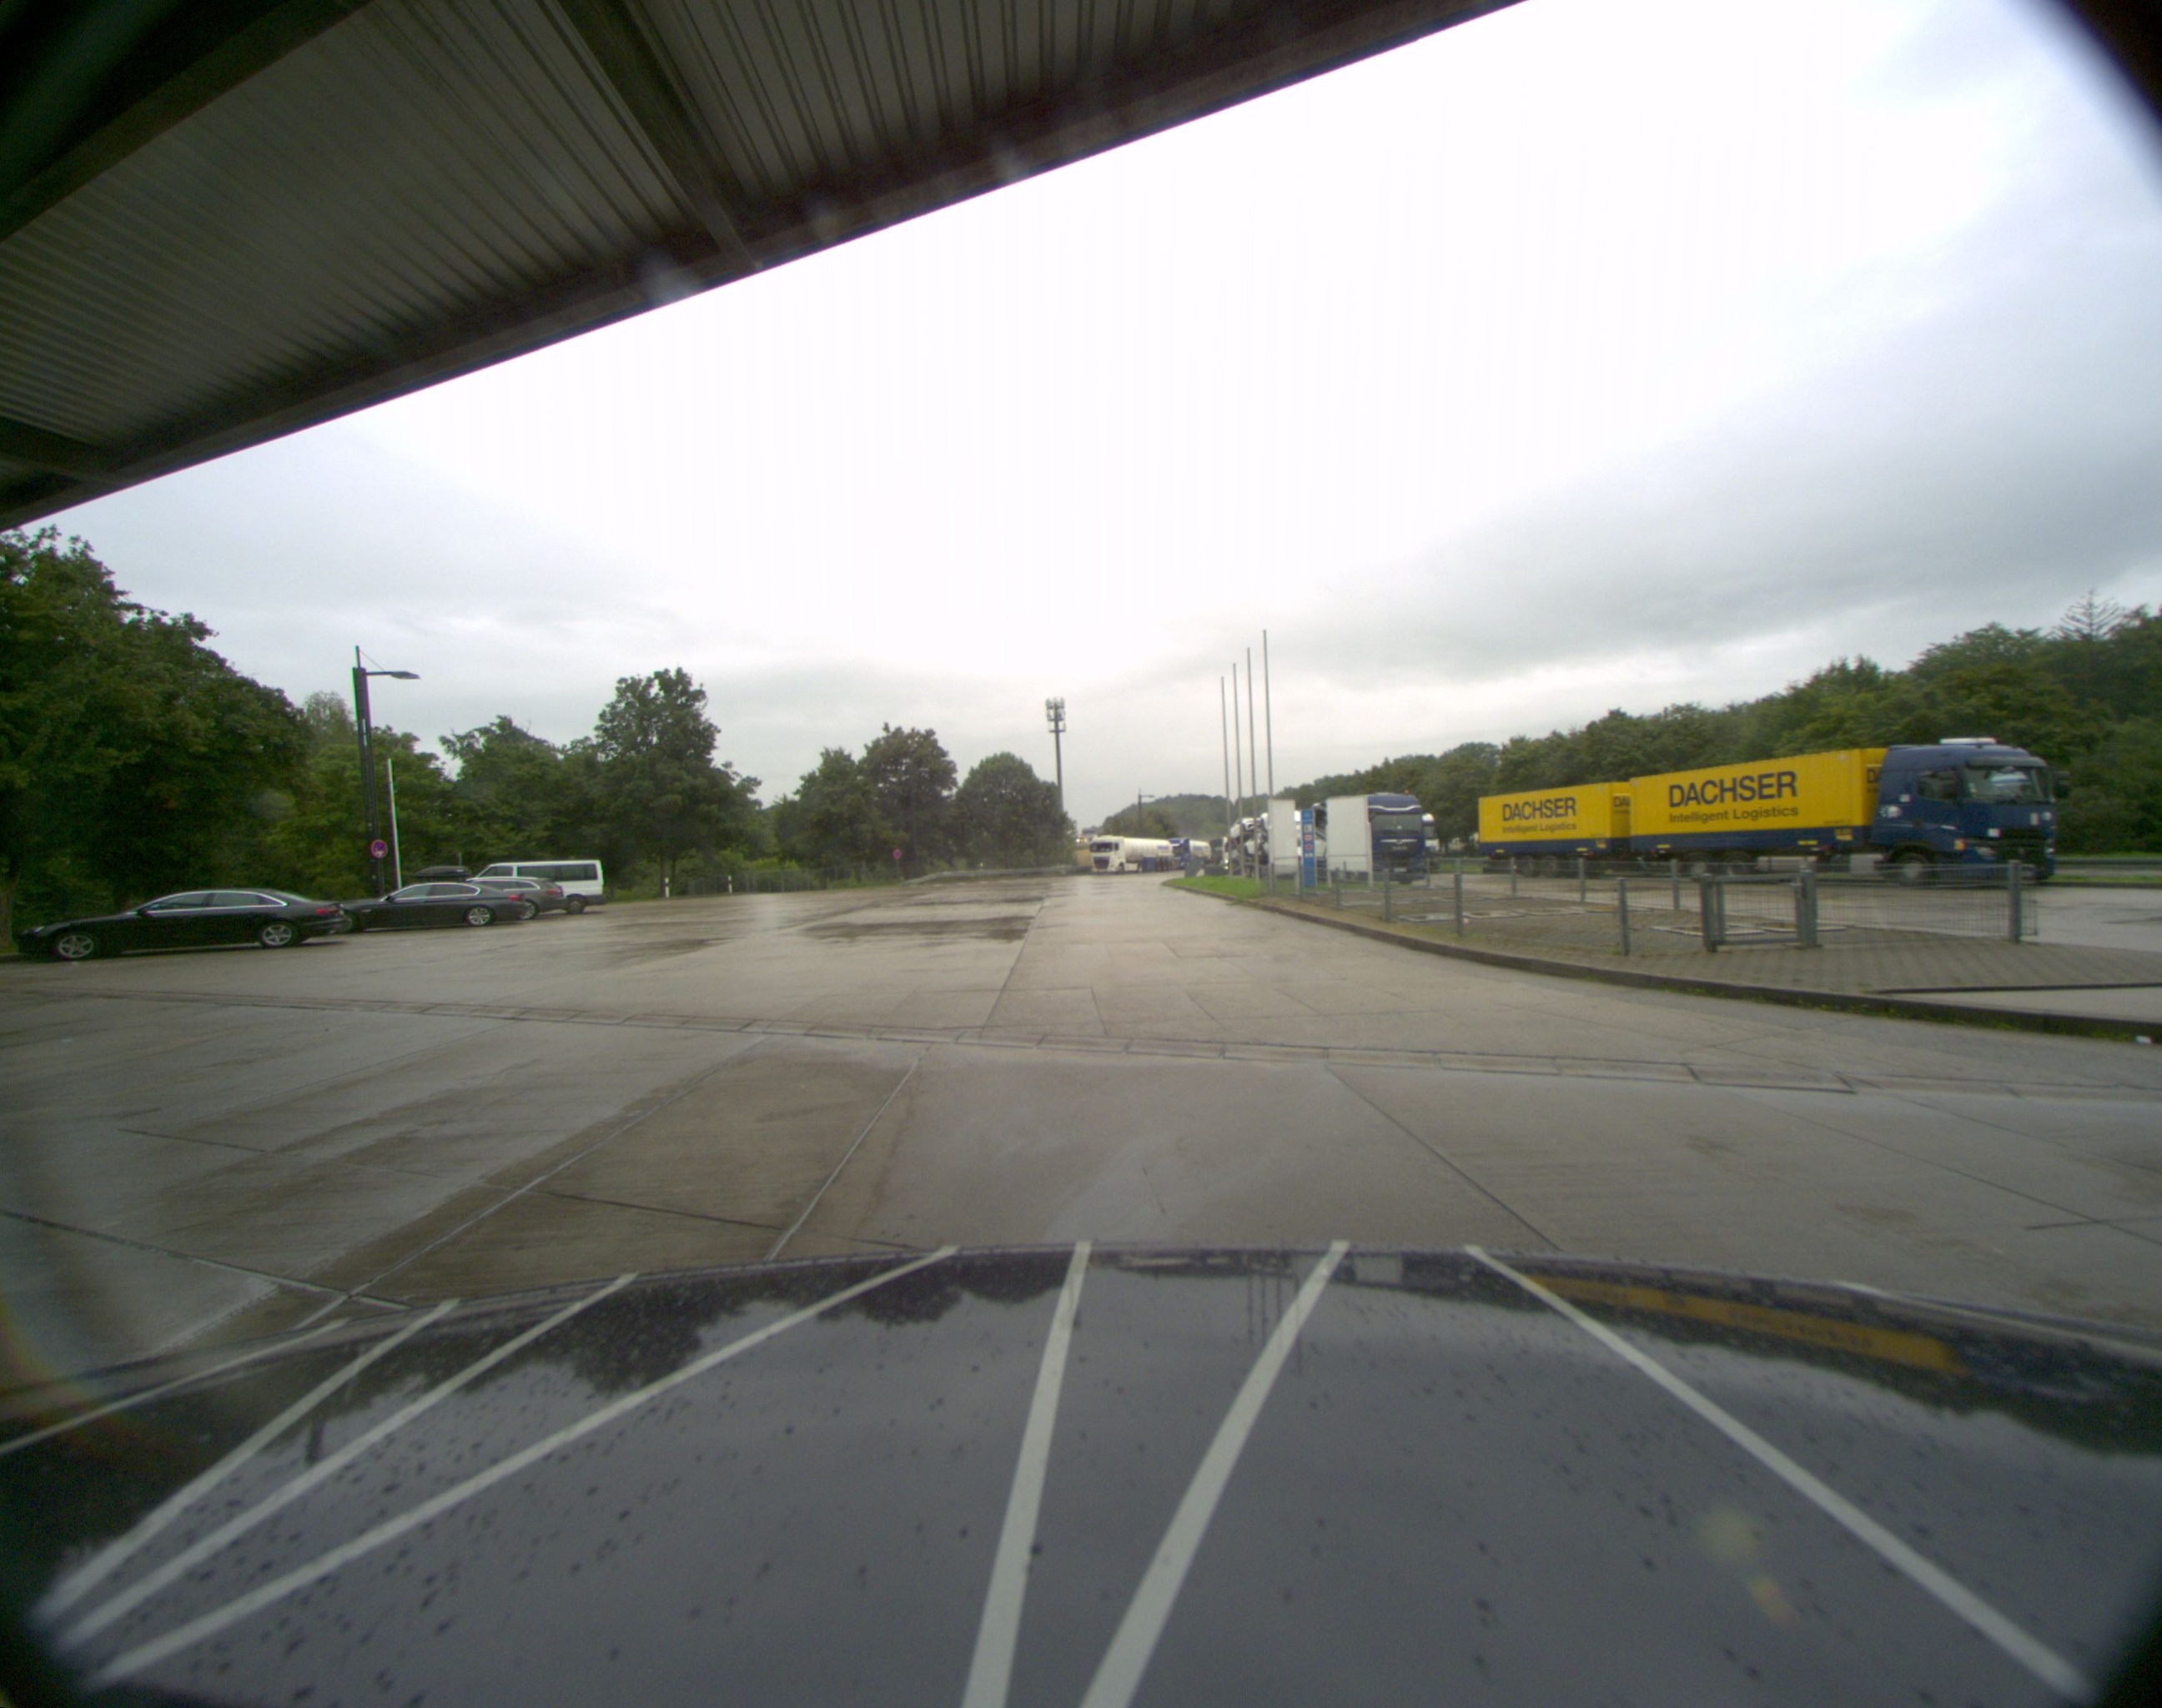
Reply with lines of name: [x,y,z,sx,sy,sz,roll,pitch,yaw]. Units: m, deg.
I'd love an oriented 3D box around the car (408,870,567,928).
car: [-19.469,1.430,25.152,4.007,1.650,1.596,-2,0,-35]

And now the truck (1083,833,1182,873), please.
truck: [5.451,-0.160,75.204,3.505,3.584,14.426,-2,0,31]

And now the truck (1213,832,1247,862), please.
truck: [21.421,-1.043,109.726,3.143,4.105,11.523,-2,1,3]

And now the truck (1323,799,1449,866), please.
truck: [19.883,-1.299,50.565,2.757,3.894,10.678,-2,1,-8]

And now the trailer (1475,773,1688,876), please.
trailer: [21.793,-1.184,33.944,2.757,3.894,8.700,-2,1,-9]

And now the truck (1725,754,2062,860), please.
truck: [33.912,-1.761,32.711,2.421,3.785,10.223,-2,1,-10]

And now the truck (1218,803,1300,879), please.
truck: [10.571,-0.726,45.774,2.665,4.157,6.618,-2,1,-6]

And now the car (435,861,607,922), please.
car: [-20.425,1.291,27.988,4.898,1.938,2.310,-2,0,-35]

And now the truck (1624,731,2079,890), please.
truck: [23.156,-1.128,24.323,2.757,3.894,10.678,-2,1,-8]

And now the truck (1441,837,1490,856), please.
truck: [45.605,-0.824,90.380,2.082,2.112,5.827,-2,1,-10]

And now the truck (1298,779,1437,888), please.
truck: [12.185,-0.796,33.176,2.665,4.157,7.103,-2,0,-6]

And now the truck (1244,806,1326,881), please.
truck: [11.047,-0.558,41.583,2.665,3.750,4.747,-2,1,-6]

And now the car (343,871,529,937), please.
car: [-18.873,1.397,22.500,4.007,1.650,1.596,-2,0,-35]

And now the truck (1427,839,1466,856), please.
truck: [48.241,-0.850,100.335,2.000,2.002,4.929,-2,1,-11]

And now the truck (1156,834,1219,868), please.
truck: [12.777,-0.403,89.685,3.506,3.584,14.685,-2,0,23]
